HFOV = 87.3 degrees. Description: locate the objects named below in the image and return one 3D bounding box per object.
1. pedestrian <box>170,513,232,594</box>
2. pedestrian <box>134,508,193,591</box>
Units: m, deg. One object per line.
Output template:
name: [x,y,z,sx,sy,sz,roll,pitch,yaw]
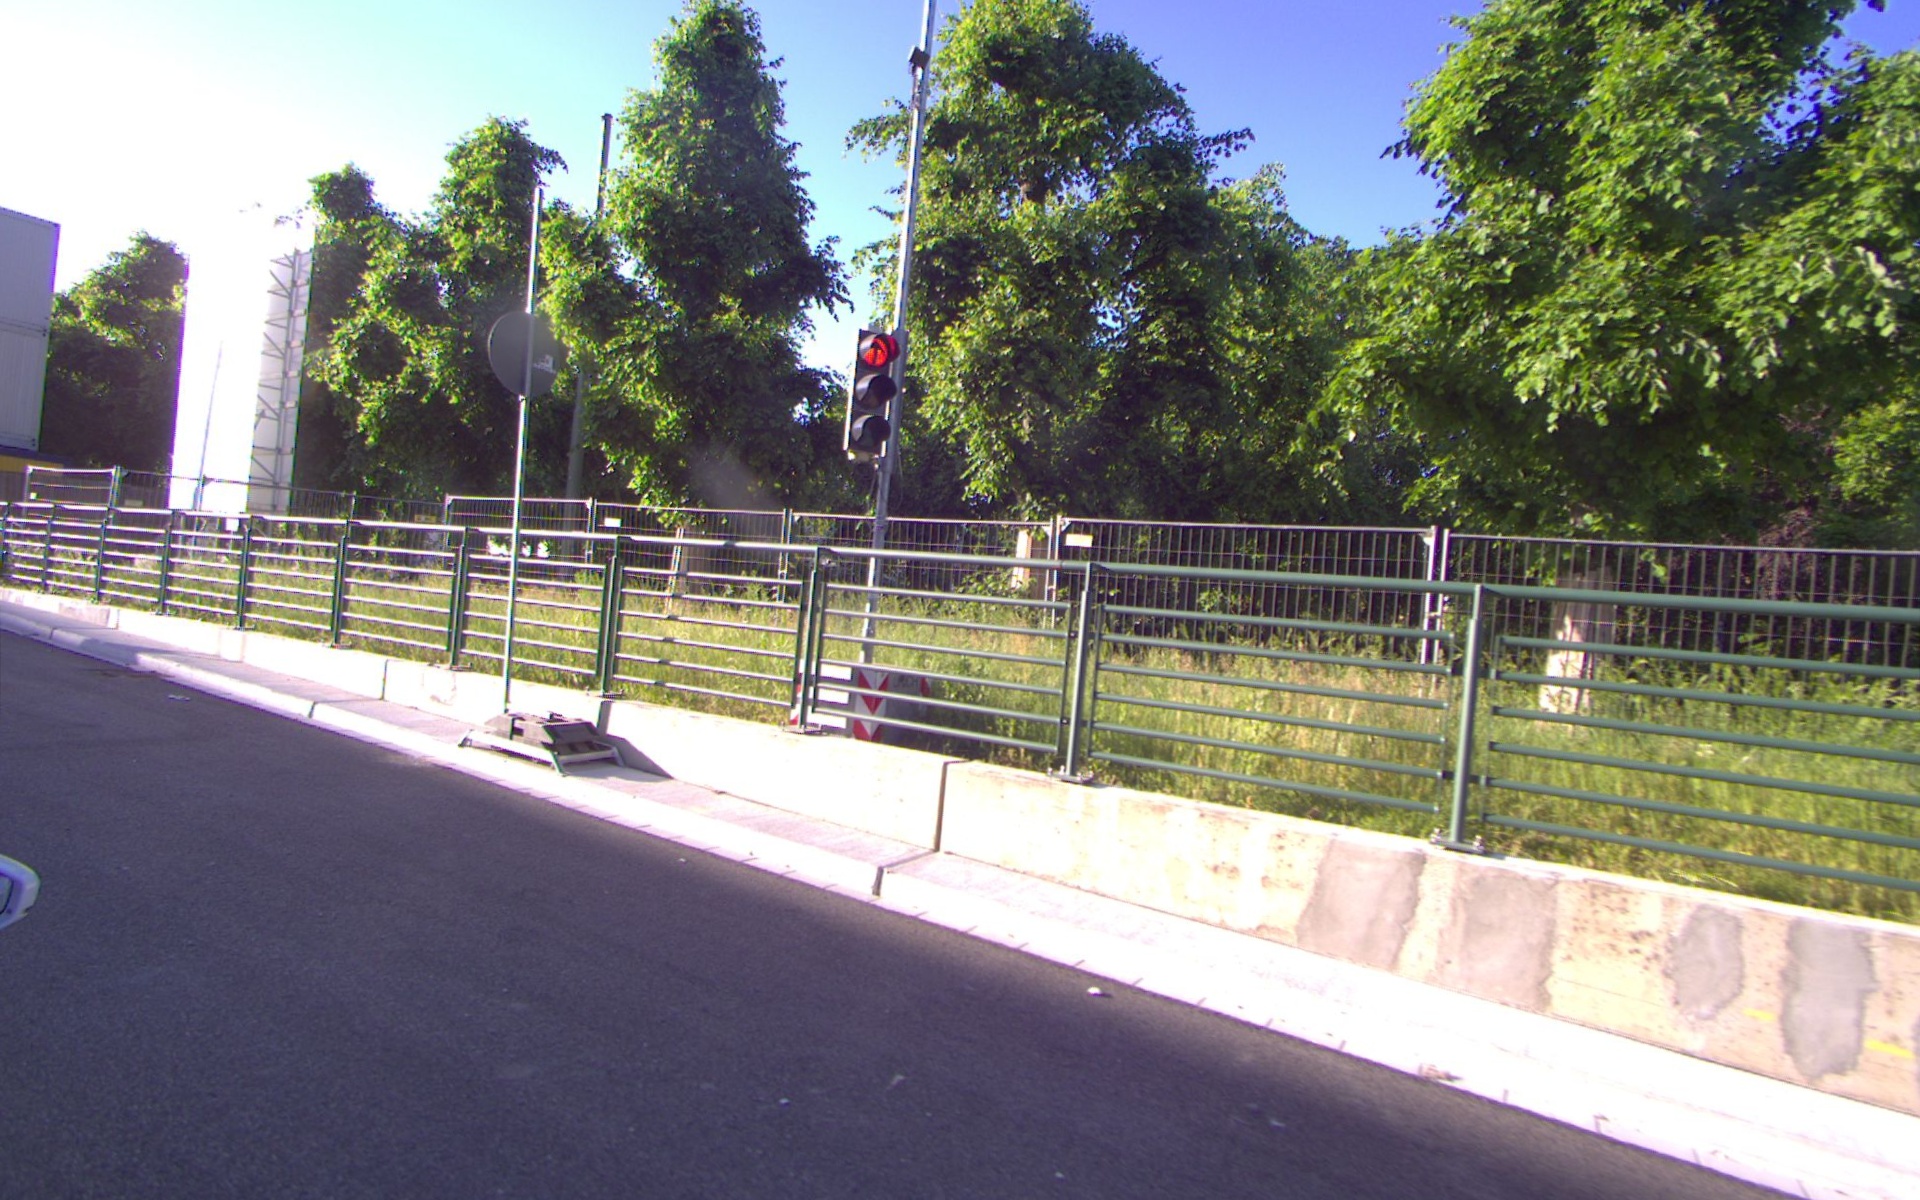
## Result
pedestrian: [-15.798,-0.960,20.947,0.654,1.586,0.744,5,1,-8]
pedestrian: [-16.470,-1.043,20.804,0.633,1.625,0.736,6,2,36]
